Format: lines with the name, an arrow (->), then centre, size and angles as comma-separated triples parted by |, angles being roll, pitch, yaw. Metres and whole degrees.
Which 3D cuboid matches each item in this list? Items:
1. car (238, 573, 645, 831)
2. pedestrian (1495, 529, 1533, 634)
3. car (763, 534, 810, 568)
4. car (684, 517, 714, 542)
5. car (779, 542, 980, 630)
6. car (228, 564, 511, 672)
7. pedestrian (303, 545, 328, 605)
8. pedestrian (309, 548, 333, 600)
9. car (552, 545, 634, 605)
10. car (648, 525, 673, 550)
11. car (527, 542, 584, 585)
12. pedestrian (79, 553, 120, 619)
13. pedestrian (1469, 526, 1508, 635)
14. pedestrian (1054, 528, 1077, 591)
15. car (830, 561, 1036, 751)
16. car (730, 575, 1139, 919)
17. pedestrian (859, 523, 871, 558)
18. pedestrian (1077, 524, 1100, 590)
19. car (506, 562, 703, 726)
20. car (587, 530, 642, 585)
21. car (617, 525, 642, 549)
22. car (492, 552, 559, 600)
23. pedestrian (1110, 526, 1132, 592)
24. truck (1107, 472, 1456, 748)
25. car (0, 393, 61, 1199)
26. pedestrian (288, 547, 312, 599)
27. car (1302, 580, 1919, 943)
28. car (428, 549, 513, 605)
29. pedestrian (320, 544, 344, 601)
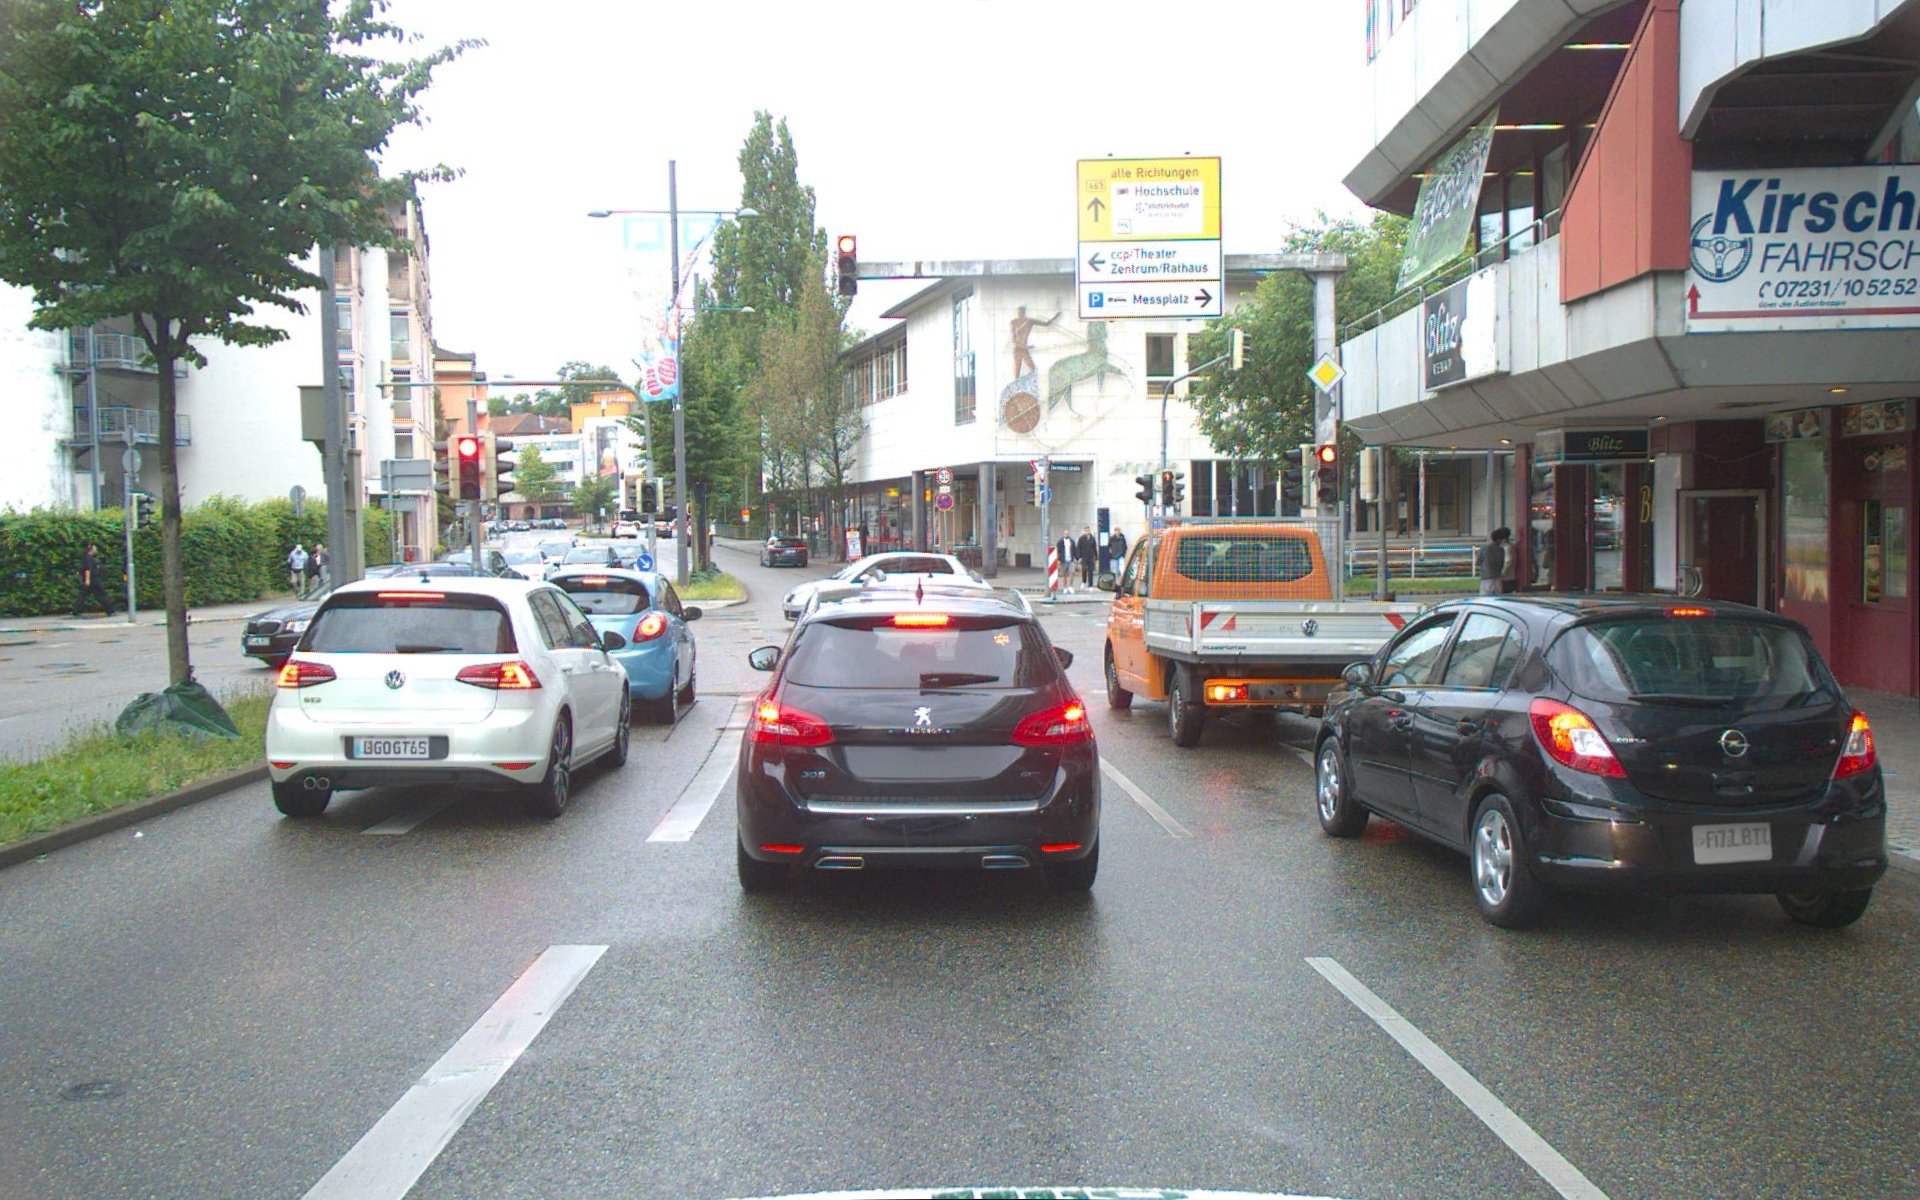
car -> -3.329, 0.557, 11.391 | 1.742, 1.454, 3.840 | 1, 1, -3
pedestrian -> 8.954, -0.299, 26.729 | 0.388, 1.668, 0.504 | -1, -1, 0
car -> -8.276, -2.359, 78.549 | 1.755, 1.479, 4.495 | -3, 3, -11
car -> -18.661, -4.993, 118.132 | 1.696, 1.516, 4.715 | 1, -1, -14
car -> -1.621, -0.271, 32.903 | 3.681, 1.494, 1.631 | -3, -1, -16
car -> -9.201, 0.203, 26.224 | 1.599, 1.512, 4.740 | 1, 2, 19
pedestrian -> -19.370, -0.742, 49.743 | 0.529, 1.778, 0.746 | 1, -1, -9
pedestrian -> -20.417, -0.824, 52.826 | 0.569, 1.627, 0.526 | 1, -1, -7
car -> -10.548, -0.690, 47.747 | 1.710, 1.607, 3.996 | 1, -1, -4
car -> -26.580, -5.529, 146.838 | 1.679, 1.970, 3.980 | 1, -1, -18
car -> -14.858, -1.343, 60.902 | 1.602, 1.512, 3.605 | 1, 2, -7
pedestrian -> -22.087, -0.343, 42.467 | 0.717, 1.671, 0.638 | 1, -1, -8
pedestrian -> 8.448, -0.304, 26.438 | 0.417, 1.712, 0.450 | -1, -1, -2
pedestrian -> 3.023, -1.152, 47.293 | 0.623, 1.788, 0.734 | 1, -1, 6
car -> -0.252, 0.416, 15.342 | 1.662, 1.512, 3.793 | 1, 2, -1
car -> -0.178, 0.609, 9.018 | 1.742, 1.454, 3.841 | 1, 1, -2
pedestrian -> -4.849, -3.051, 84.702 | 0.461, 1.778, 0.537 | 1, -1, -21
pedestrian -> 3.825, -1.274, 49.219 | 0.623, 1.930, 0.734 | 1, -1, 6
car -> -3.617, 0.375, 17.354 | 1.601, 1.512, 3.606 | 1, 2, -6
car -> -11.568, -1.382, 55.496 | 1.713, 1.669, 3.989 | 1, -1, -11
car -> -29.141, -5.548, 145.654 | 1.679, 1.915, 3.980 | 1, -1, -18
car -> -14.106, -0.799, 53.812 | 1.602, 1.512, 3.605 | 1, 2, -7
pedestrian -> 4.744, -1.201, 48.672 | 0.623, 1.930, 0.734 | 1, -1, 6
truck -> 2.831, 0.016, 15.898 | 2.133, 2.210, 5.018 | 1, 2, -3
car -> -3.035, 0.443, 1.405 | 1.873, 1.903, 5.071 | 1, -1, -2
pedestrian -> -20.687, -0.839, 51.838 | 0.569, 1.627, 0.526 | 1, -1, -7
car -> 3.100, 0.642, 8.697 | 1.584, 1.454, 3.839 | 1, 1, -4
car -> -13.747, -0.669, 46.602 | 1.543, 1.512, 3.607 | 1, 2, -4
pedestrian -> -19.511, -0.849, 51.375 | 0.528, 1.778, 0.564 | 1, -1, -6
